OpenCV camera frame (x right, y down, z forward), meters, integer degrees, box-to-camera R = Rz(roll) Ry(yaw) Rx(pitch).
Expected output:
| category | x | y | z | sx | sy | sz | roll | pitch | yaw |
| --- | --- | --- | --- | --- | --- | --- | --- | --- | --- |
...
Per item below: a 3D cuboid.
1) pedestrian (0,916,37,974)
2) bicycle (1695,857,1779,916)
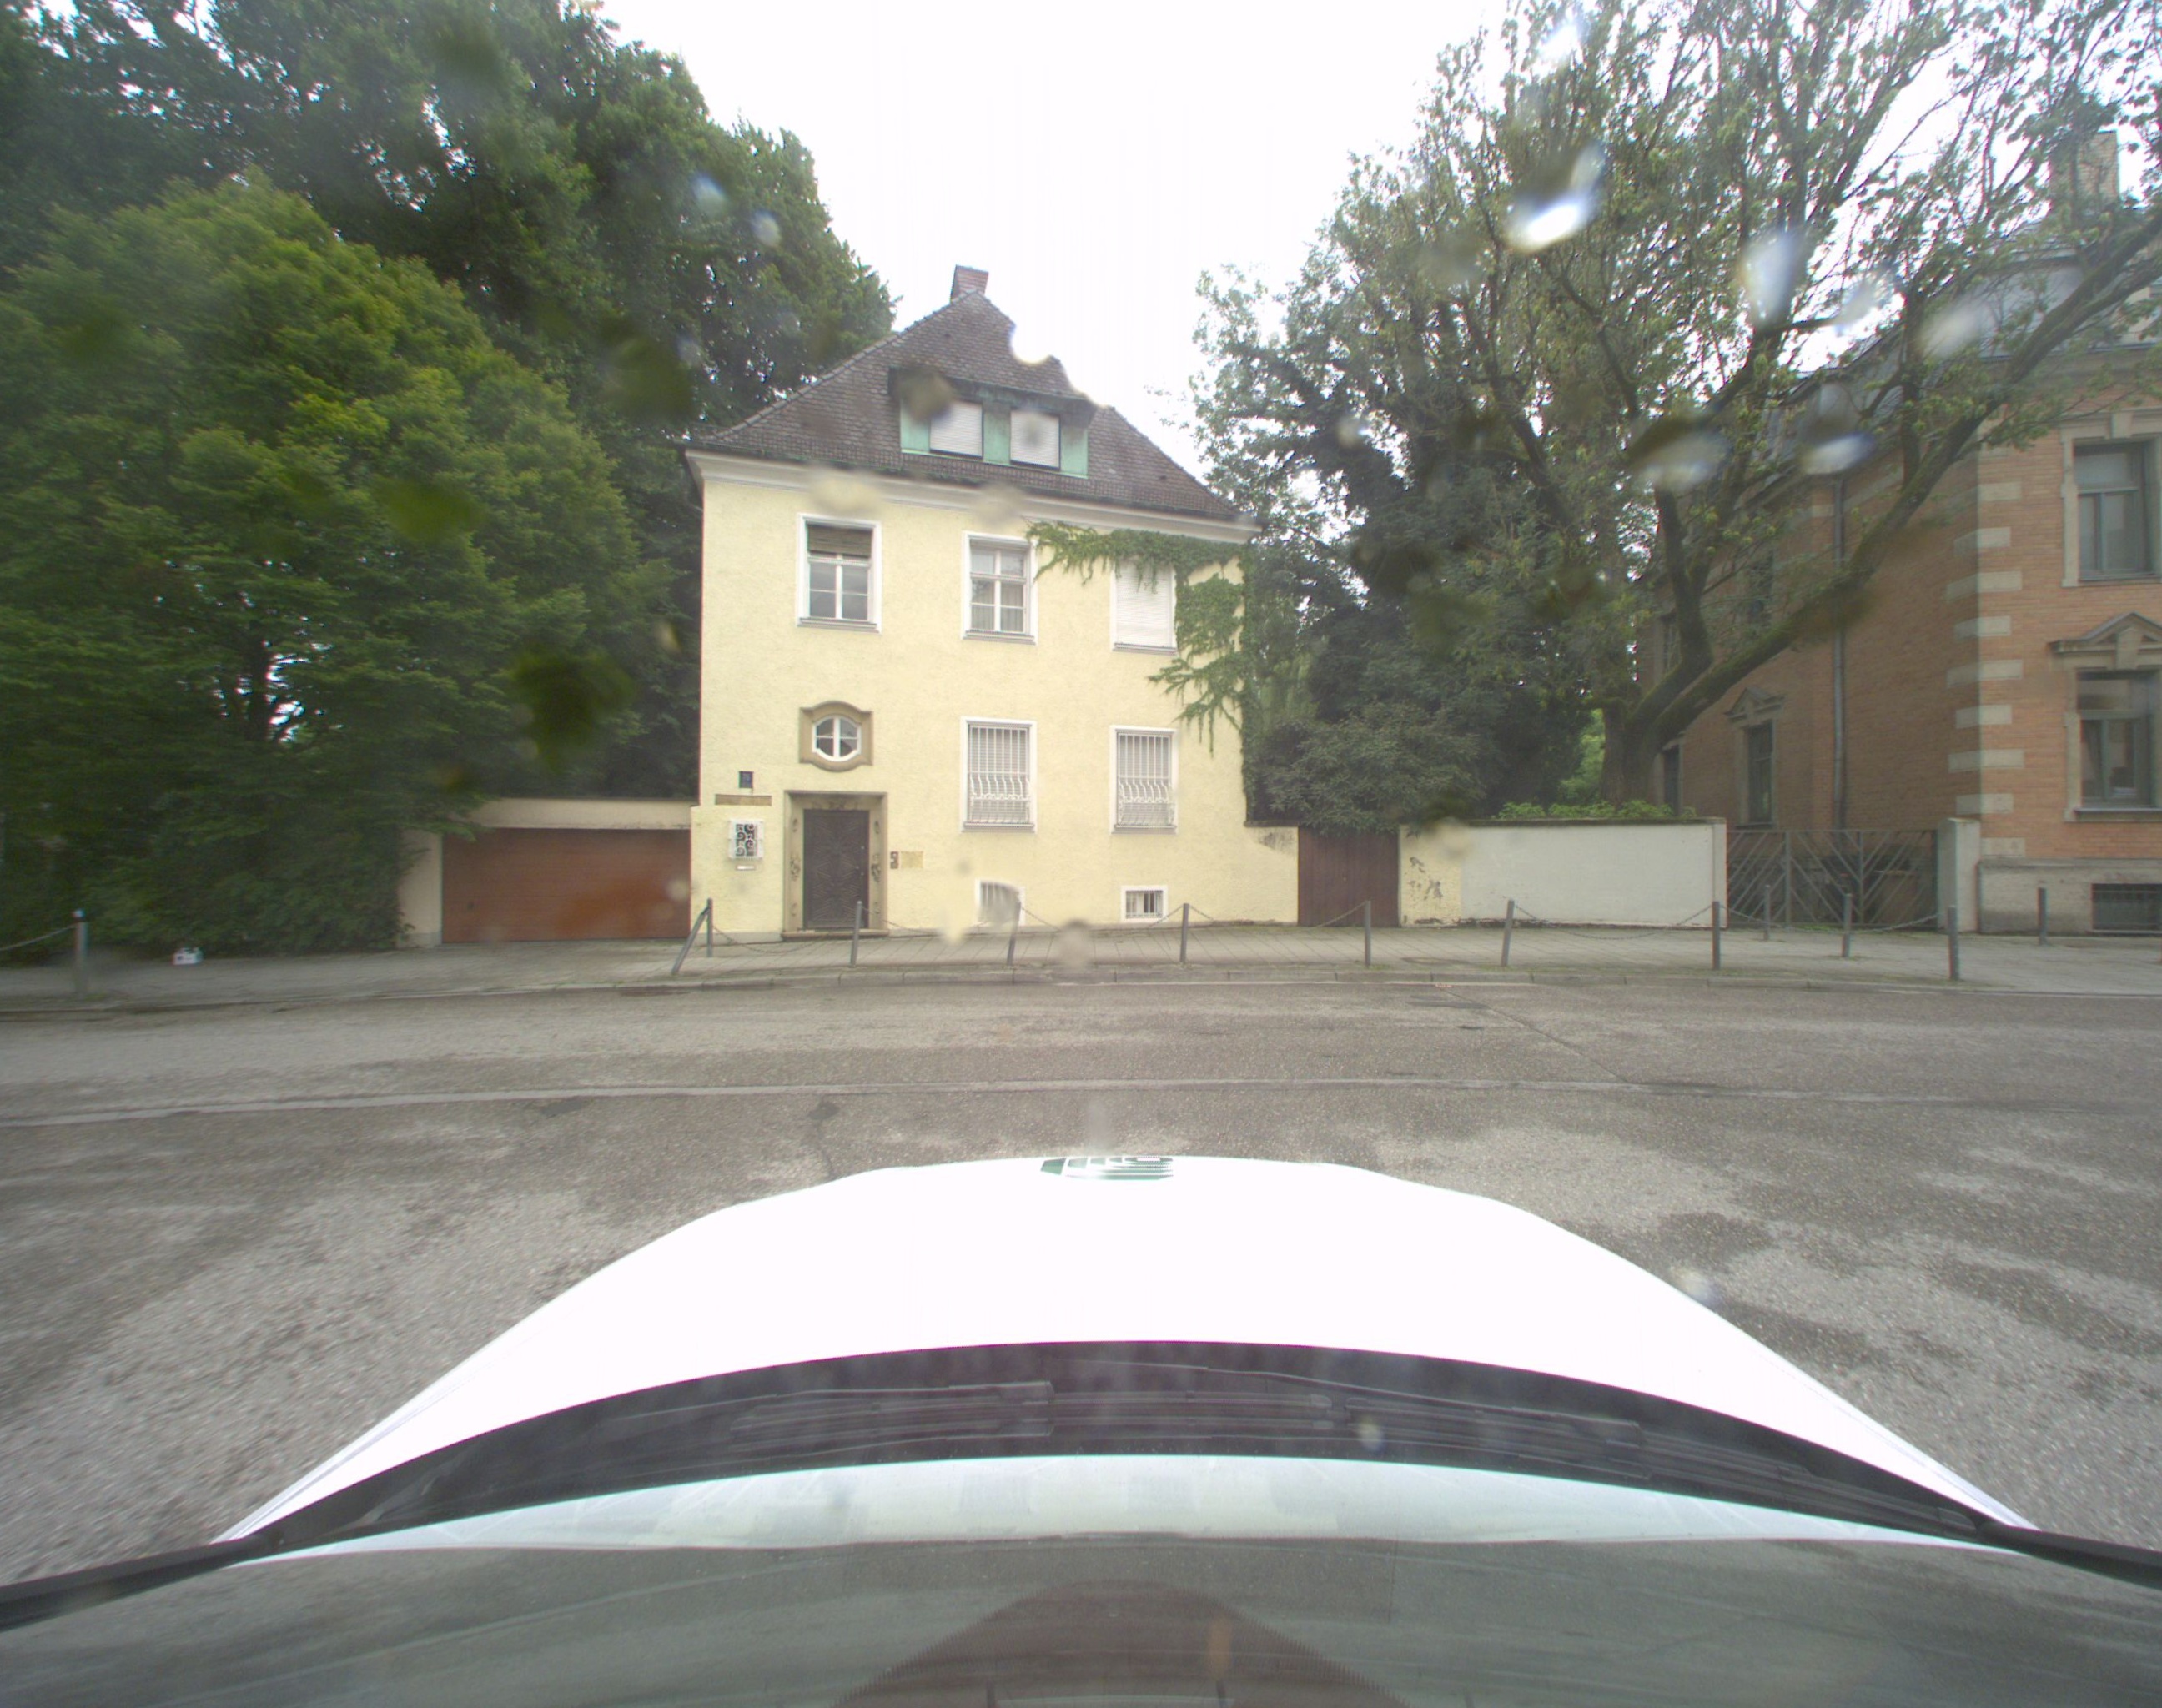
| category | x | y | z | sx | sy | sz | roll | pitch | yaw |
| --- | --- | --- | --- | --- | --- | --- | --- | --- | --- |
| pedestrian | -22.241 | 1.887 | 16.912 | 0.472 | 1.156 | 0.494 | 1 | -1 | -17 |
| bicycle | 14.473 | 0.694 | 18.038 | 0.531 | 1.219 | 2.089 | 0 | -1 | 11 |
